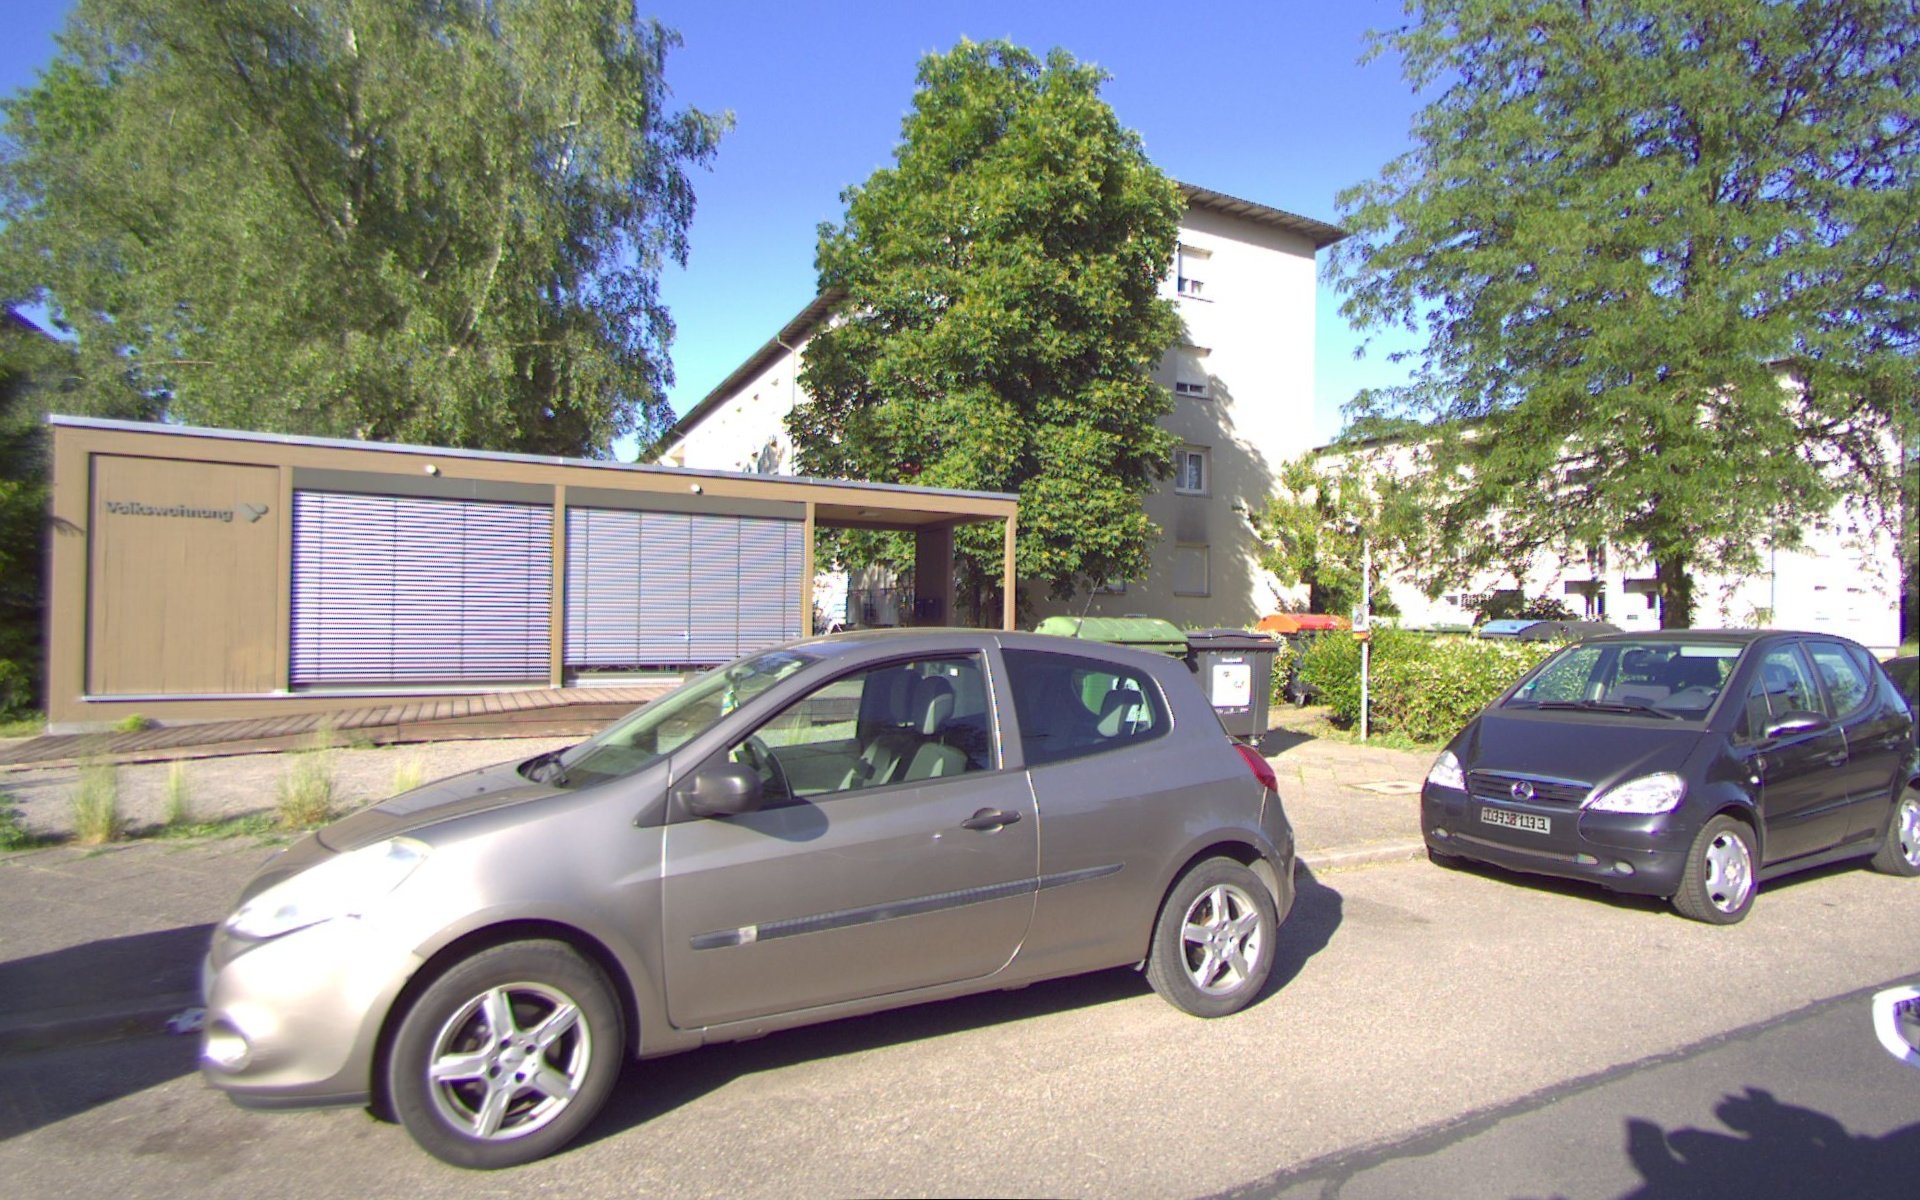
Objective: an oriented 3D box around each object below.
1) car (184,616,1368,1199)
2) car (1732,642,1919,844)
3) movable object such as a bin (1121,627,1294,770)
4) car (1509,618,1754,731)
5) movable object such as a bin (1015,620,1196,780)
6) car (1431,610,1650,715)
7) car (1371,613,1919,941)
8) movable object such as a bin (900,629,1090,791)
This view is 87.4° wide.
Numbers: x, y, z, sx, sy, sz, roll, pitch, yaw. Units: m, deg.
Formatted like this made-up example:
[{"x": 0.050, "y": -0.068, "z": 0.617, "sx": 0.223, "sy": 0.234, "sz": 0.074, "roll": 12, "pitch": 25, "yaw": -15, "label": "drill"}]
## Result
[{"x": -0.461, "y": 0.870, "z": 4.068, "sx": 3.906, "sy": 1.500, "sz": 1.749, "roll": 1, "pitch": -3, "yaw": -26, "label": "car"}, {"x": 8.970, "y": 1.130, "z": 8.857, "sx": 4.481, "sy": 1.500, "sz": 1.747, "roll": 1, "pitch": -3, "yaw": -28, "label": "car"}, {"x": 2.597, "y": 0.988, "z": 10.620, "sx": 1.325, "sy": 1.358, "sz": 1.174, "roll": 1, "pitch": 0, "yaw": -26, "label": "movable object such as a bin"}, {"x": 10.563, "y": 1.102, "z": 15.755, "sx": 3.951, "sy": 1.545, "sz": 1.563, "roll": 1, "pitch": 0, "yaw": -29, "label": "car"}, {"x": 1.411, "y": 0.929, "z": 9.901, "sx": 1.325, "sy": 1.427, "sz": 1.173, "roll": 1, "pitch": 0, "yaw": -26, "label": "movable object such as a bin"}, {"x": 10.332, "y": 1.059, "z": 17.823, "sx": 3.951, "sy": 1.663, "sz": 1.563, "roll": 1, "pitch": 0, "yaw": -29, "label": "car"}, {"x": 4.671, "y": 0.943, "z": 6.576, "sx": 3.674, "sy": 1.594, "sz": 1.747, "roll": 1, "pitch": -3, "yaw": -29, "label": "car"}, {"x": 0.295, "y": 0.941, "z": 9.148, "sx": 1.325, "sy": 1.305, "sz": 1.173, "roll": 1, "pitch": 0, "yaw": -26, "label": "movable object such as a bin"}]
